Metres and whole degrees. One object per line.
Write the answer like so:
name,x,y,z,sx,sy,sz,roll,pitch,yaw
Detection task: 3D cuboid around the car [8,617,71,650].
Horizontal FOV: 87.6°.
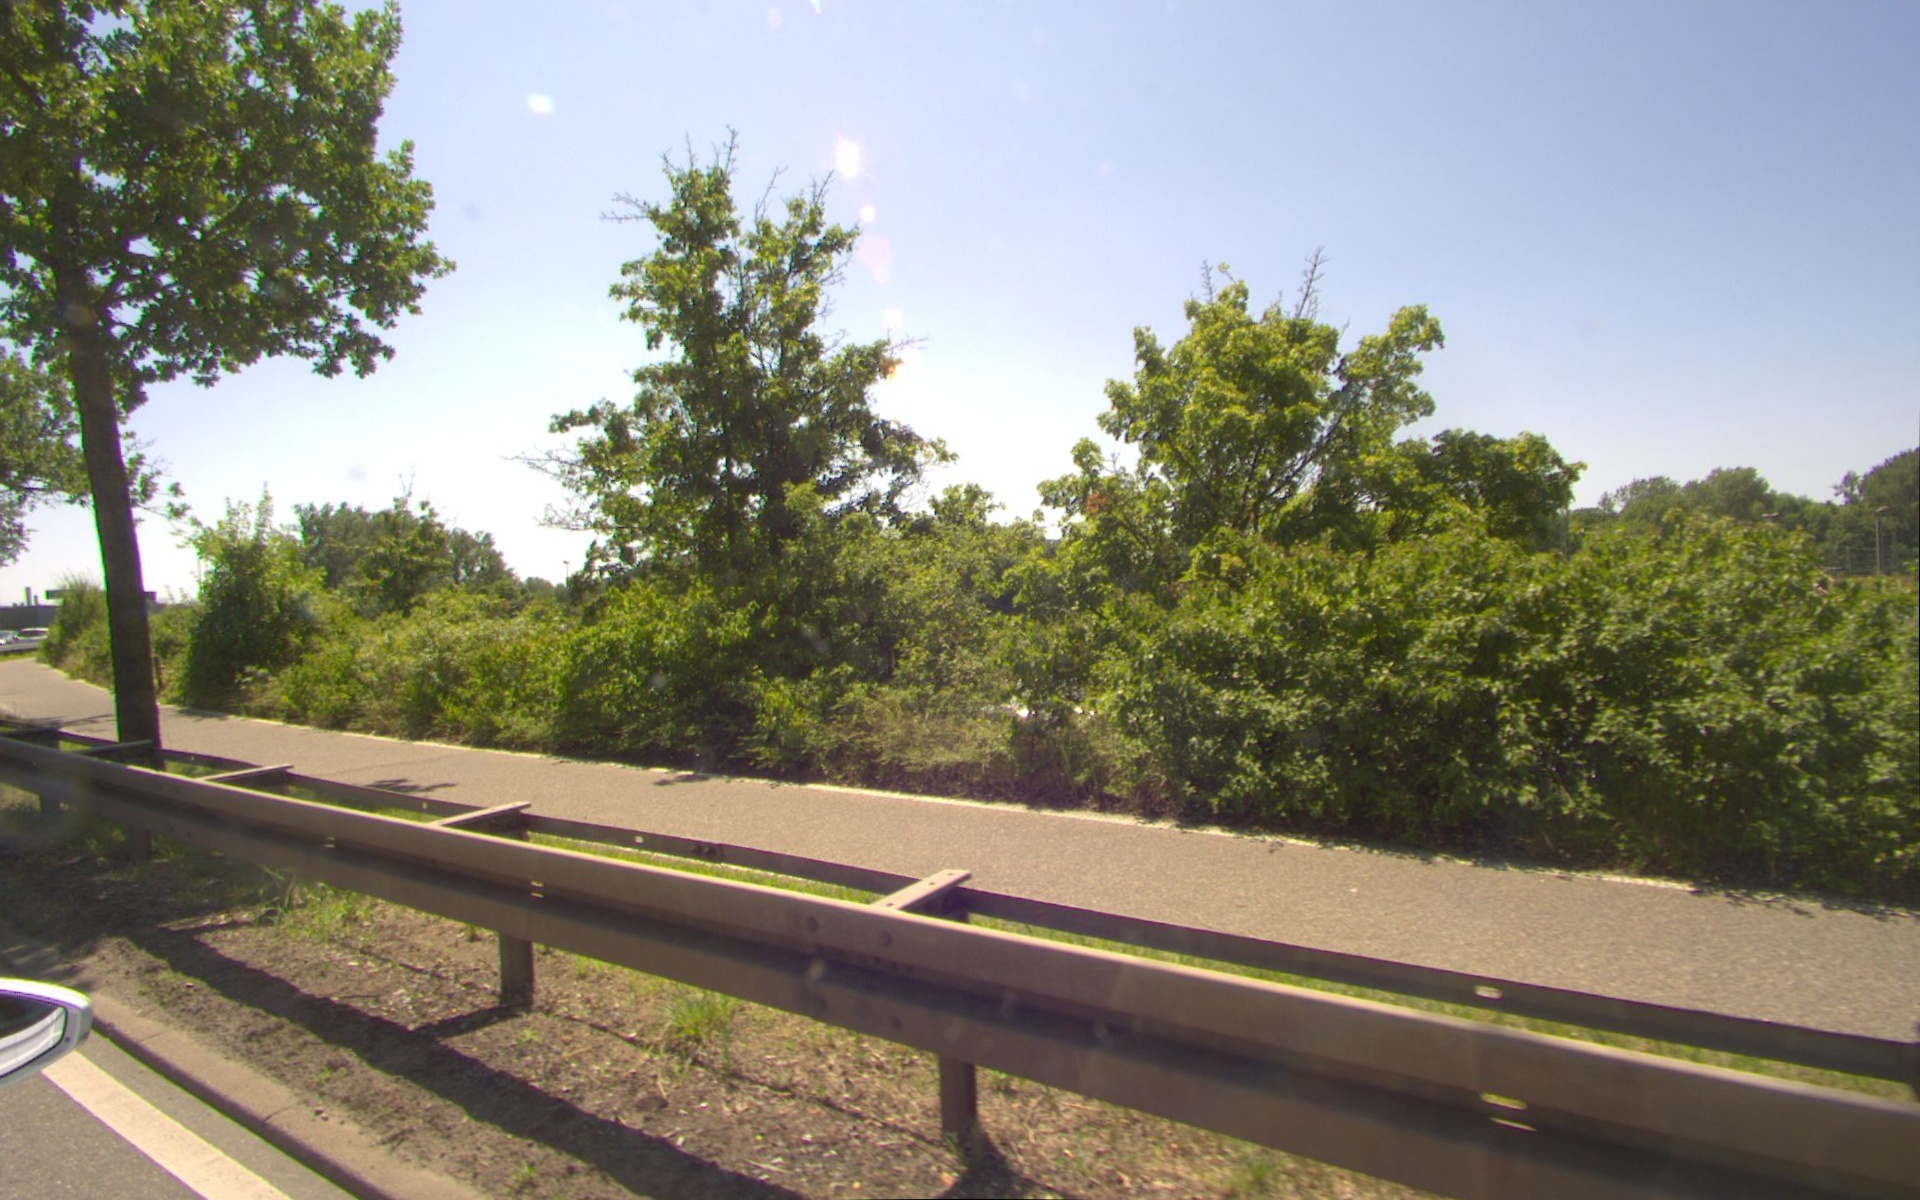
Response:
car,-53.292,1.930,58.041,1.974,1.790,4.725,1,-2,-34

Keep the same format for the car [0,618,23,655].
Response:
car,-47.587,1.787,48.942,1.975,1.739,4.835,1,-2,-36
